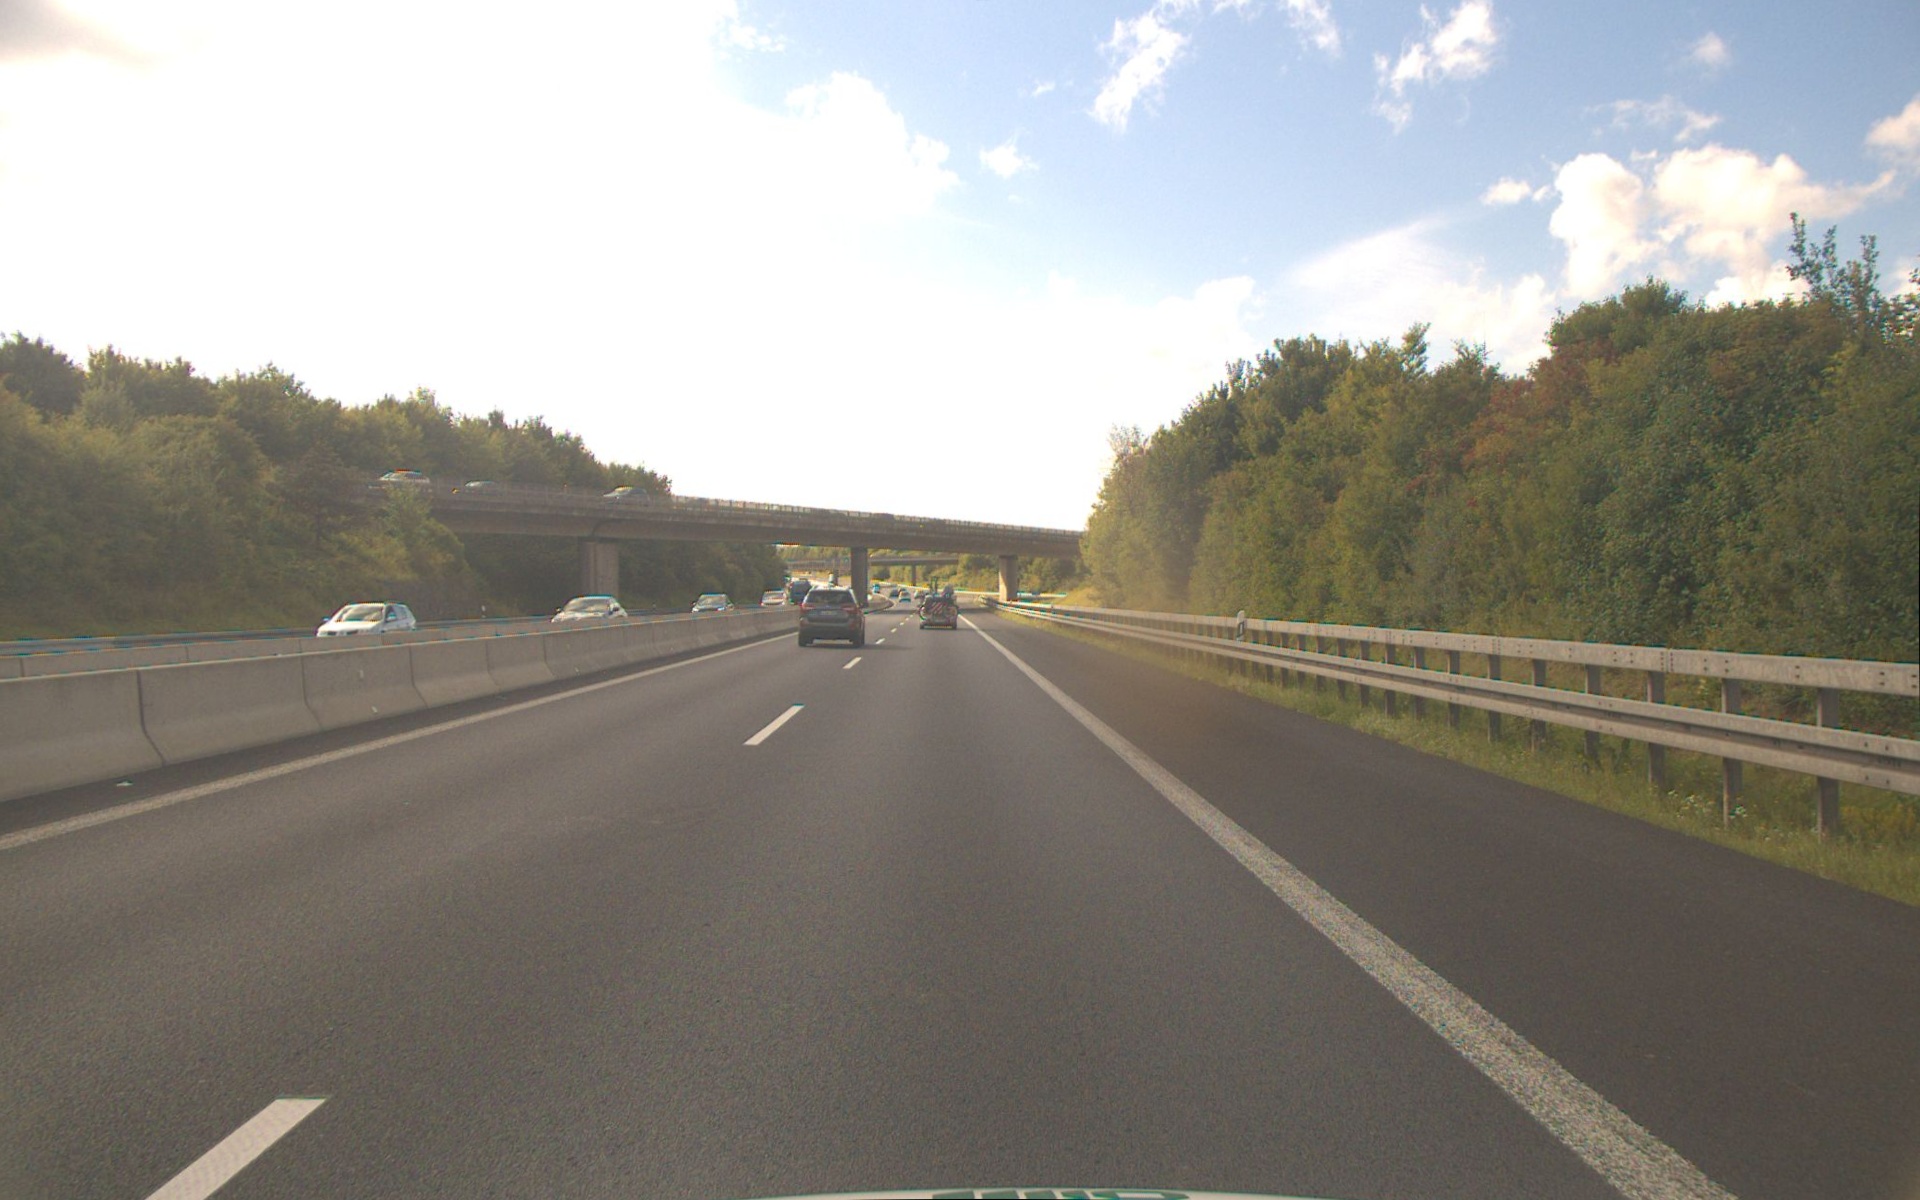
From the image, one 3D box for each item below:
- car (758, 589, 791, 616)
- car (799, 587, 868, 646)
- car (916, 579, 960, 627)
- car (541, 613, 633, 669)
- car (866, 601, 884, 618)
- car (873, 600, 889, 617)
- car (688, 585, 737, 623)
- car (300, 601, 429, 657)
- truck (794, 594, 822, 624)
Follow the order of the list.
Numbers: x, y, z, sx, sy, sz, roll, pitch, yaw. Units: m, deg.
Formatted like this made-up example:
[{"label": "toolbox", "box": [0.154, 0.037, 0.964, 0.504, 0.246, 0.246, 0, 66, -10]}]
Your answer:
[{"label": "car", "box": [-13.964, 0.210, 124.477, 1.953, 1.929, 5.188, -1, 0, -1]}, {"label": "car", "box": [-3.745, 0.465, 49.387, 1.714, 1.659, 3.609, -1, 0, 1]}, {"label": "car", "box": [-1.000, 0.139, 77.427, 1.953, 2.117, 3.999, -1, 0, -1]}, {"label": "car", "box": [-12.442, 1.329, 55.499, 1.953, 1.677, 5.194, -1, 0, -1]}, {"label": "car", "box": [-10.270, 1.113, 199.336, 1.953, 2.049, 3.999, -1, 0, -1]}, {"label": "car", "box": [-10.051, 1.094, 210.364, 1.953, 2.049, 3.999, -1, 0, -1]}, {"label": "car", "box": [-13.329, 0.206, 89.283, 1.953, 1.929, 5.139, -1, 0, -1]}, {"label": "car", "box": [-16.699, 0.776, 46.627, 1.953, 1.461, 4.723, -1, 0, -1]}, {"label": "truck", "box": [-18.658, 1.120, 203.711, 2.621, 3.506, 9.826, -1, 0, -1]}]
